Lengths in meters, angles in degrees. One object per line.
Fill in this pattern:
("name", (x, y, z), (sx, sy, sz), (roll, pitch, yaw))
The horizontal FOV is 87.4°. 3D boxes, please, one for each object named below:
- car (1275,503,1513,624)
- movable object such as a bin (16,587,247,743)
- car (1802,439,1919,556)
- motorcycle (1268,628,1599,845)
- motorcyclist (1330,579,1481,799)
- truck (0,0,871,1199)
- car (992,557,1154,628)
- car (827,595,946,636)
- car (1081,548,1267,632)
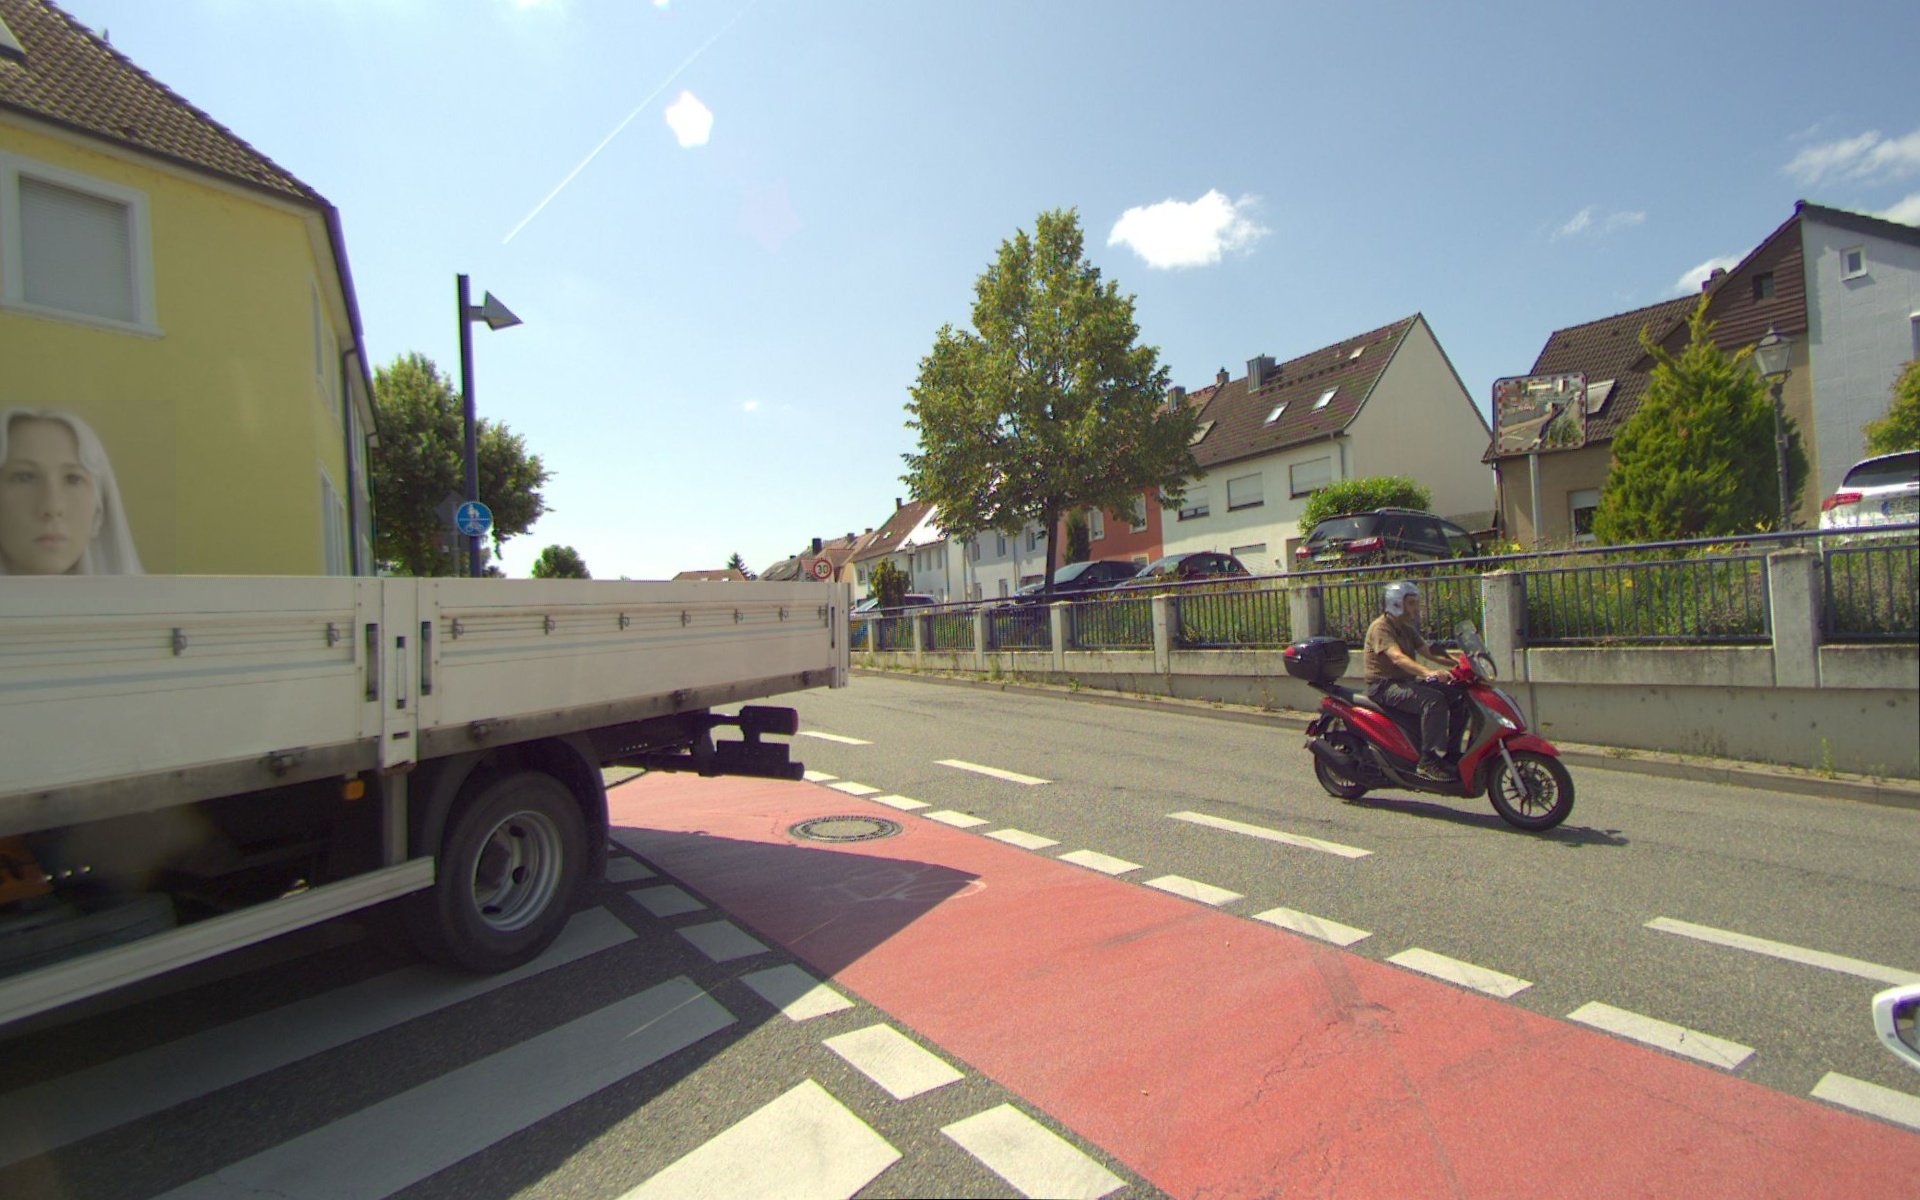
("car", (7.406, -0.558, 17.050), (3.958, 1.821, 1.856), (0, 1, -34))
("movable object such as a bin", (-7.112, 0.536, 8.685), (0.826, 1.229, 1.277), (-2, -1, 18))
("car", (10.863, -1.057, 10.859), (3.423, 1.033, 1.814), (0, 1, -34))
("motorcycle", (3.362, 0.886, 7.366), (0.721, 1.309, 2.123), (1, 0, -34))
("motorcyclist", (3.300, 0.621, 7.464), (0.721, 1.521, 0.763), (1, 0, -35))
("truck", (-3.188, -0.056, 3.106), (2.567, 2.915, 8.071), (0, 0, 21))
("car", (2.766, -0.183, 24.469), (3.572, 1.608, 1.856), (0, 1, -34))
("car", (-2.798, 0.576, 38.280), (4.202, 1.508, 1.735), (0, 1, -27))
("car", (4.511, -0.197, 21.087), (3.572, 1.608, 1.856), (0, 1, -34))
